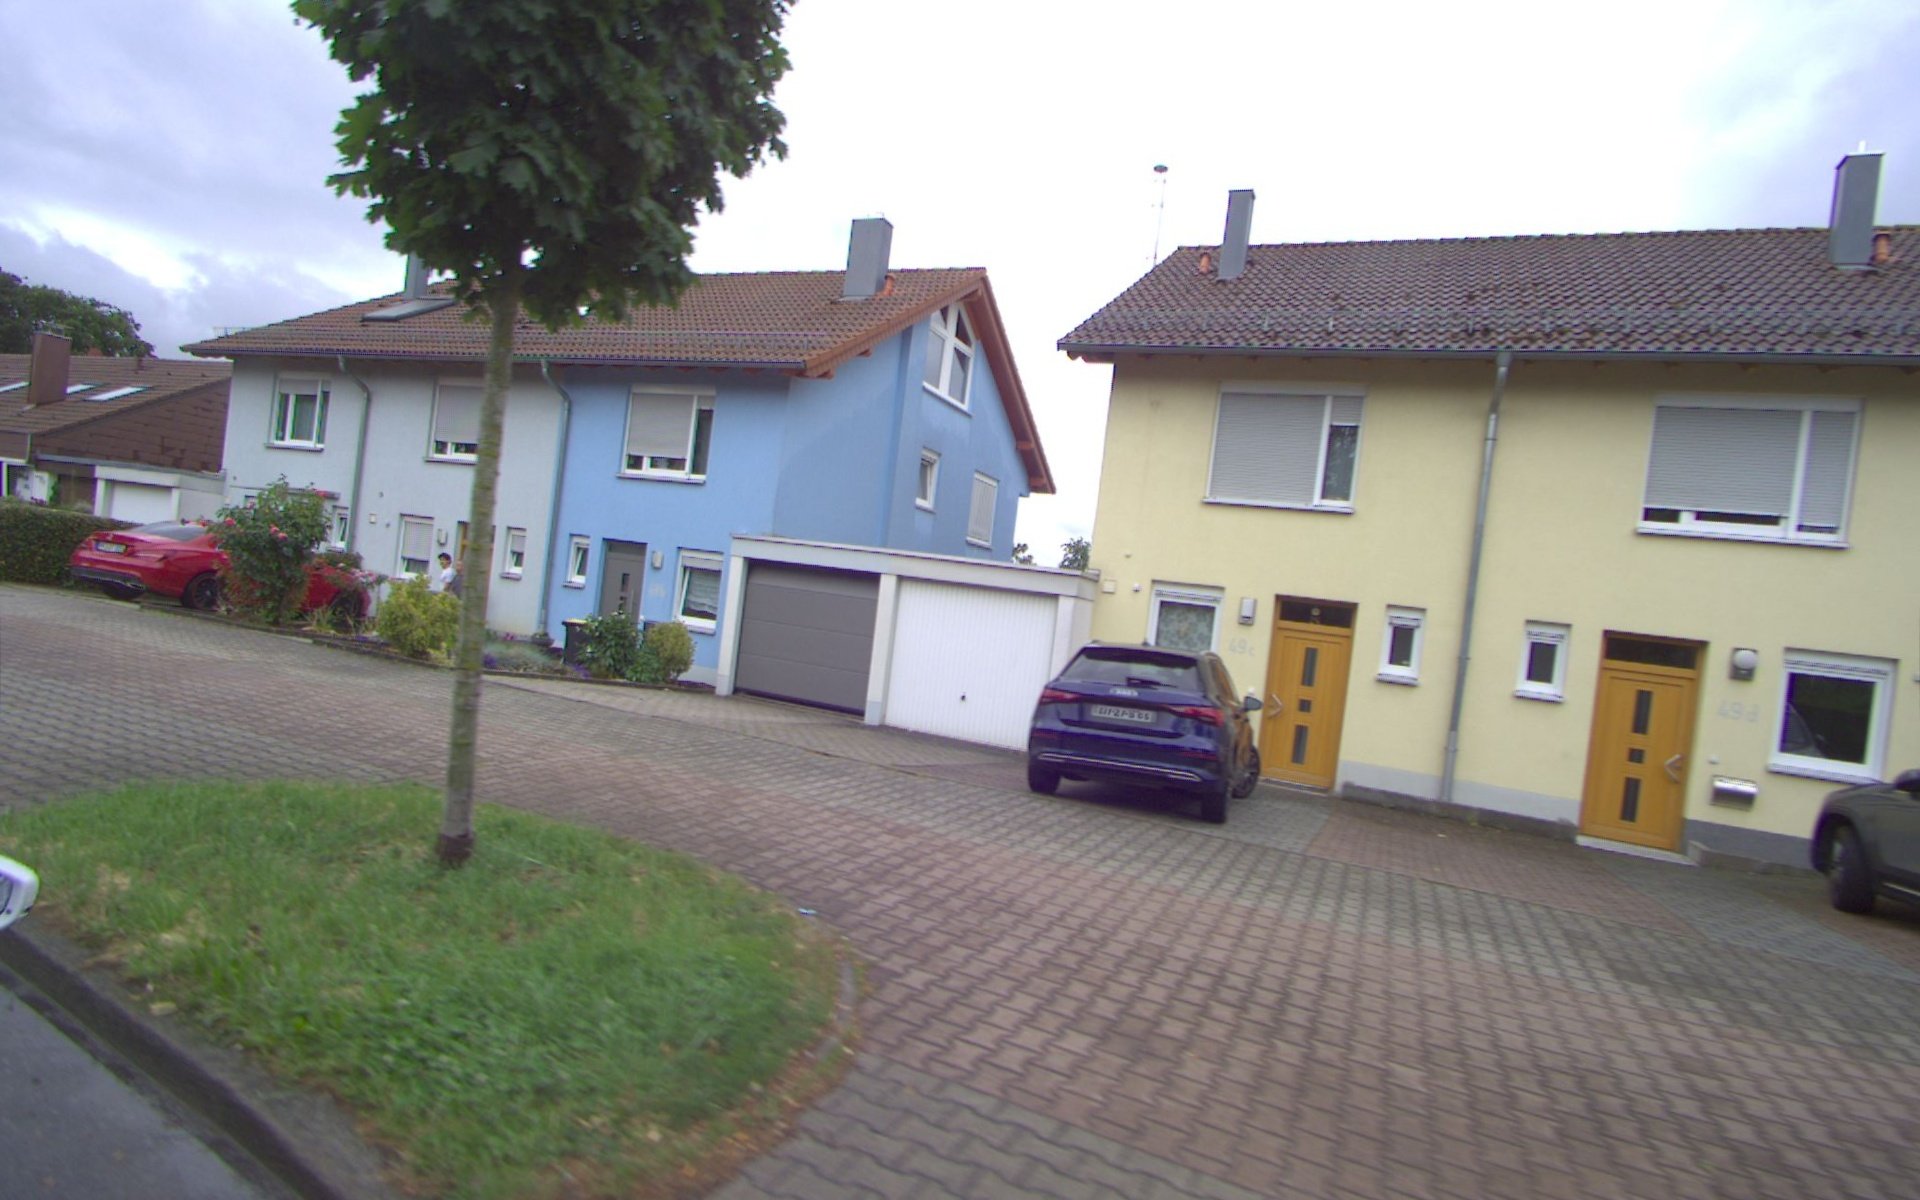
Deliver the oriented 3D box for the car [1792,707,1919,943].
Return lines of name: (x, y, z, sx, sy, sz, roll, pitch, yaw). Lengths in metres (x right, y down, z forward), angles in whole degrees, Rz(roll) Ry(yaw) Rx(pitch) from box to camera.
car: (7.771, 1.718, 6.760, 1.689, 1.690, 4.199, 7, -3, 17)

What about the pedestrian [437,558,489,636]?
pedestrian: (-9.222, -0.043, 18.673, 0.519, 1.367, 0.537, 7, 0, 11)

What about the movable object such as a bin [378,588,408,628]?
movable object such as a bin: (-9.642, 0.141, 17.103, 0.319, 0.634, 0.256, 7, 1, 24)

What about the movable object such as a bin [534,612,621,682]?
movable object such as a bin: (-6.063, 0.746, 15.956, 0.802, 0.976, 0.895, 7, 0, 24)

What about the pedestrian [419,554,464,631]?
pedestrian: (-9.743, -0.148, 18.896, 0.494, 1.367, 0.557, 6, 1, -44)

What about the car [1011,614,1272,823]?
car: (1.978, 1.146, 9.812, 1.644, 1.401, 4.007, 7, -4, 21)

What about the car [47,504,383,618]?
car: (-12.046, -0.540, 16.687, 1.647, 1.275, 4.322, 8, -2, 14)
